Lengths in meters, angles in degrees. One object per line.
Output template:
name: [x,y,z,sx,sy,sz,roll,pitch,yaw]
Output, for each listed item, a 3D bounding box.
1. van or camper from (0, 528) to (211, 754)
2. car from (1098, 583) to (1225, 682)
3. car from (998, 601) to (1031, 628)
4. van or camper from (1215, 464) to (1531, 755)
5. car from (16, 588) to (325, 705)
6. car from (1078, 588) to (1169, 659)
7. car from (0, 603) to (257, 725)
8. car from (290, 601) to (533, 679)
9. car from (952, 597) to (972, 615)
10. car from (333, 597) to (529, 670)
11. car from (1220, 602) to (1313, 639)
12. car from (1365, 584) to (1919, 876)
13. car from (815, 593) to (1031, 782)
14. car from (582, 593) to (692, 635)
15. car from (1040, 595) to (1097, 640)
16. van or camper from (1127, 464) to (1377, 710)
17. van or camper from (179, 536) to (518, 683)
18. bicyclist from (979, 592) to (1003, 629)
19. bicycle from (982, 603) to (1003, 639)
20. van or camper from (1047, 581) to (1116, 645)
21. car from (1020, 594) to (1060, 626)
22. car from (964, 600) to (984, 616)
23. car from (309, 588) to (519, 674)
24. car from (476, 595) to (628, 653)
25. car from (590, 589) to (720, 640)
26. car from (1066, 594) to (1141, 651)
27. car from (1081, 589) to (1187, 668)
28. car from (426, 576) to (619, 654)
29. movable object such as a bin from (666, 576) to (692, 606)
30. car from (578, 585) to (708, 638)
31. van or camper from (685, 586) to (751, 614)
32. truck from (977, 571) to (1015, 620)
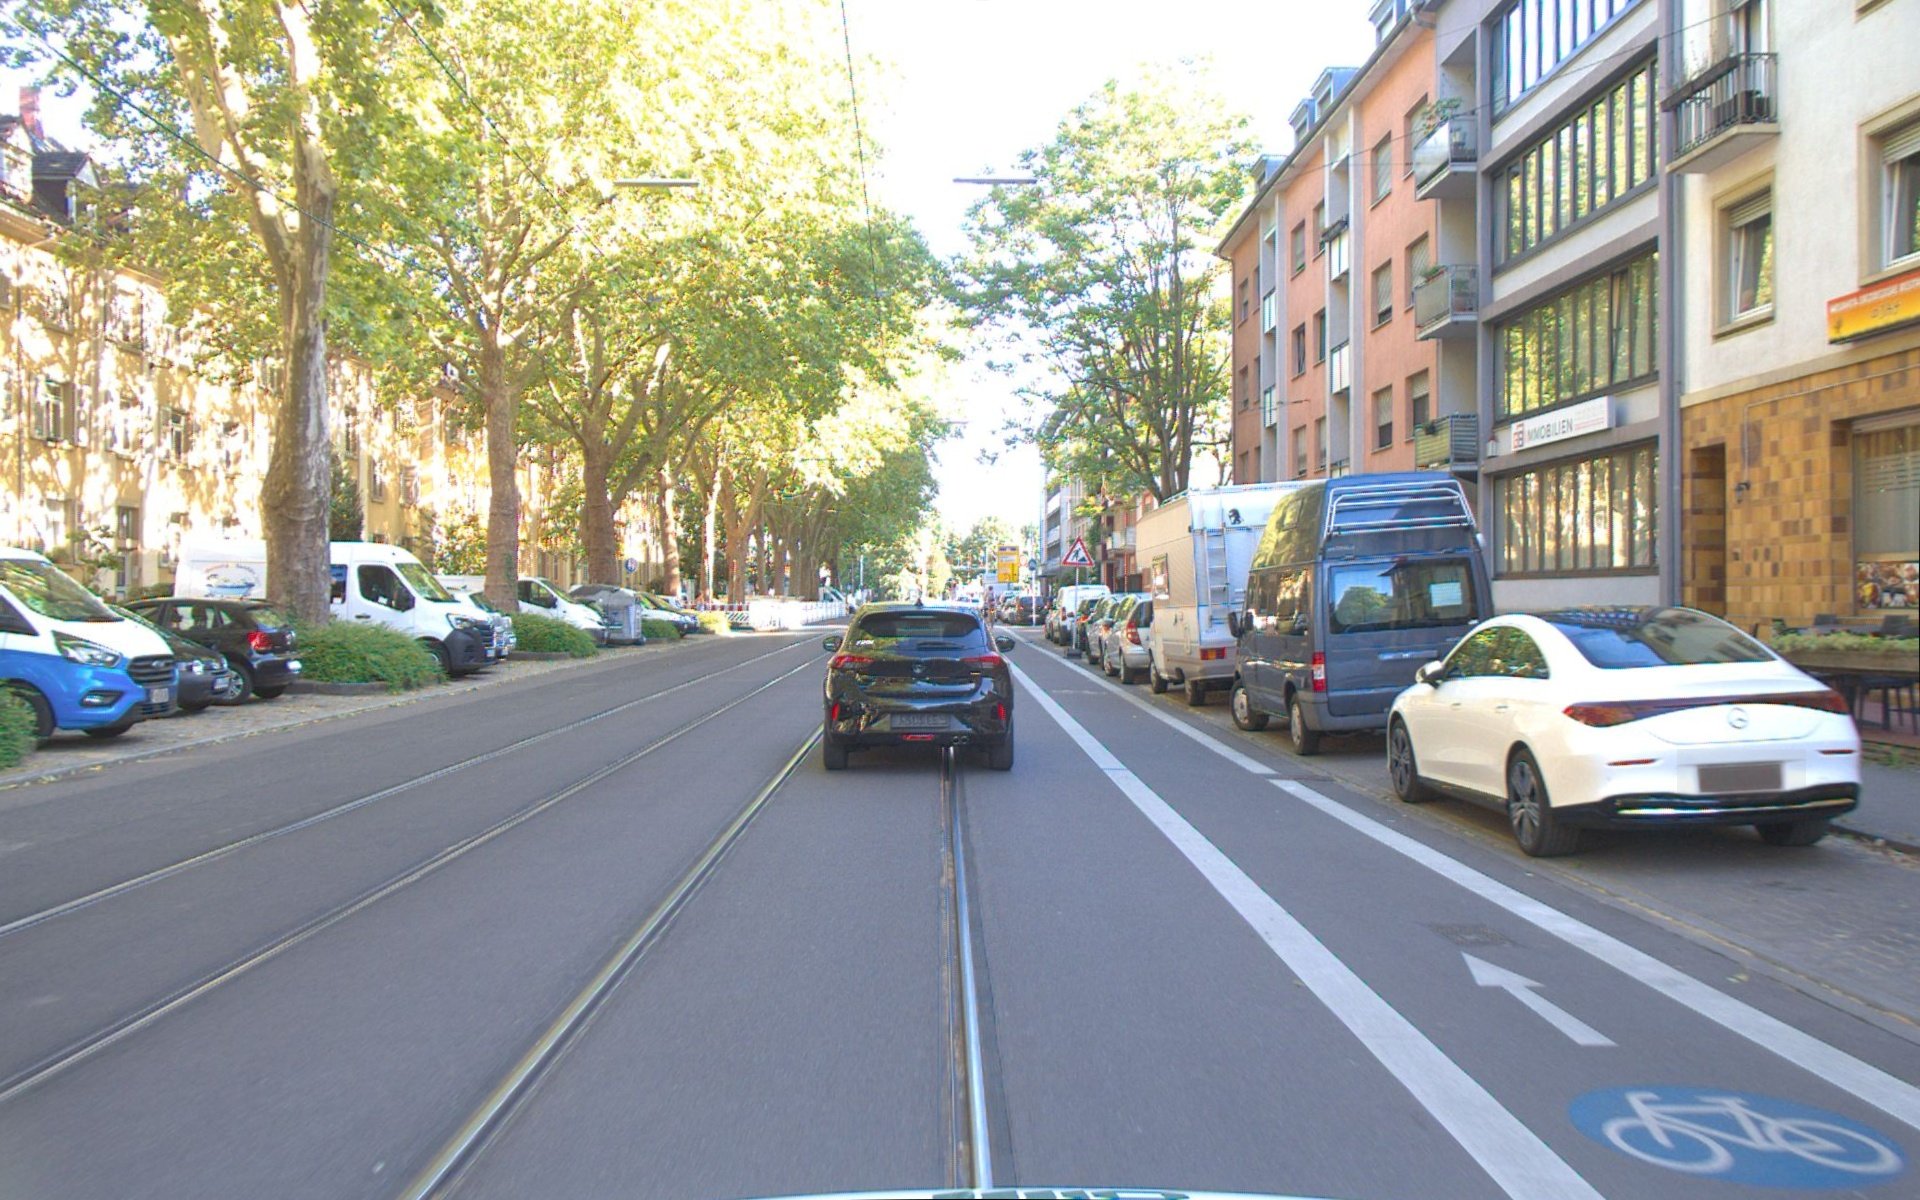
van or camper: [-10.688,0.397,17.307,4.725,2.228,2.117,0,0,-5]
car: [3.720,0.571,31.208,1.756,1.656,4.275,-2,0,-1]
car: [3.106,0.804,95.723,1.626,1.424,4.738,-2,0,-1]
van or camper: [4.357,0.087,18.390,2.089,2.709,4.978,-2,0,-1]
car: [-11.162,0.633,23.538,3.605,1.592,1.613,0,0,2]
car: [4.041,0.557,41.578,1.732,1.599,4.336,-2,0,-1]
car: [-11.056,0.784,21.128,3.463,1.485,1.694,0,0,-7]
car: [-10.720,0.765,32.535,4.177,1.423,1.753,-1,0,-1]
car: [0.181,0.599,168.363,1.953,1.725,4.738,-2,0,-1]
car: [-11.771,0.724,36.996,3.769,1.524,1.862,-1,0,-1]
car: [13.651,0.907,73.746,3.834,1.508,1.561,0,3,-2]
car: [4.394,0.706,11.437,1.953,1.519,4.739,-2,0,0]
car: [-0.333,0.705,15.370,1.745,1.522,3.999,0,0,-1]
car: [-12.255,0.533,62.910,3.769,1.524,1.862,-1,0,-1]
car: [3.777,0.599,58.257,1.671,1.499,3.999,-1,0,-1]
van or camper: [4.135,-0.180,24.741,2.412,3.117,6.266,-2,0,-1]
van or camper: [-11.070,0.171,30.275,5.278,2.560,2.445,0,0,1]
bicyclist: [1.388,0.465,74.948,1.067,1.676,1.400,0,0,0]
bicycle: [1.469,0.928,74.904,0.897,1.588,3.404,0,0,0]
van or camper: [3.797,0.384,52.212,1.719,1.897,4.829,-1,0,-1]
car: [3.964,0.487,82.325,1.698,1.487,3.915,-2,0,-1]
car: [1.492,0.866,180.205,1.953,1.725,4.738,-2,0,-1]
car: [-11.384,0.624,34.680,3.769,1.692,1.862,-1,0,-1]
car: [-11.341,0.642,46.185,3.769,1.524,1.862,-1,0,-1]
car: [-10.813,0.520,58.746,4.144,1.717,1.934,-1,0,6]
car: [4.012,0.602,46.657,1.671,1.499,4.167,-1,0,-1]
car: [3.755,0.587,36.394,1.752,1.548,4.321,-2,0,-1]
car: [-11.393,0.376,43.305,4.565,1.979,1.960,0,0,-4]
movable object such as a bin: [-17.768,-0.560,104.499,1.306,1.901,2.007,1,-1,-1]
car: [-10.797,0.380,56.507,4.112,1.788,1.740,0,0,0]
van or camper: [-21.355,0.015,146.061,5.387,2.421,2.270,1,-1,3]
truck: [2.657,-0.320,123.605,2.487,3.396,7.194,-3,0,0]
